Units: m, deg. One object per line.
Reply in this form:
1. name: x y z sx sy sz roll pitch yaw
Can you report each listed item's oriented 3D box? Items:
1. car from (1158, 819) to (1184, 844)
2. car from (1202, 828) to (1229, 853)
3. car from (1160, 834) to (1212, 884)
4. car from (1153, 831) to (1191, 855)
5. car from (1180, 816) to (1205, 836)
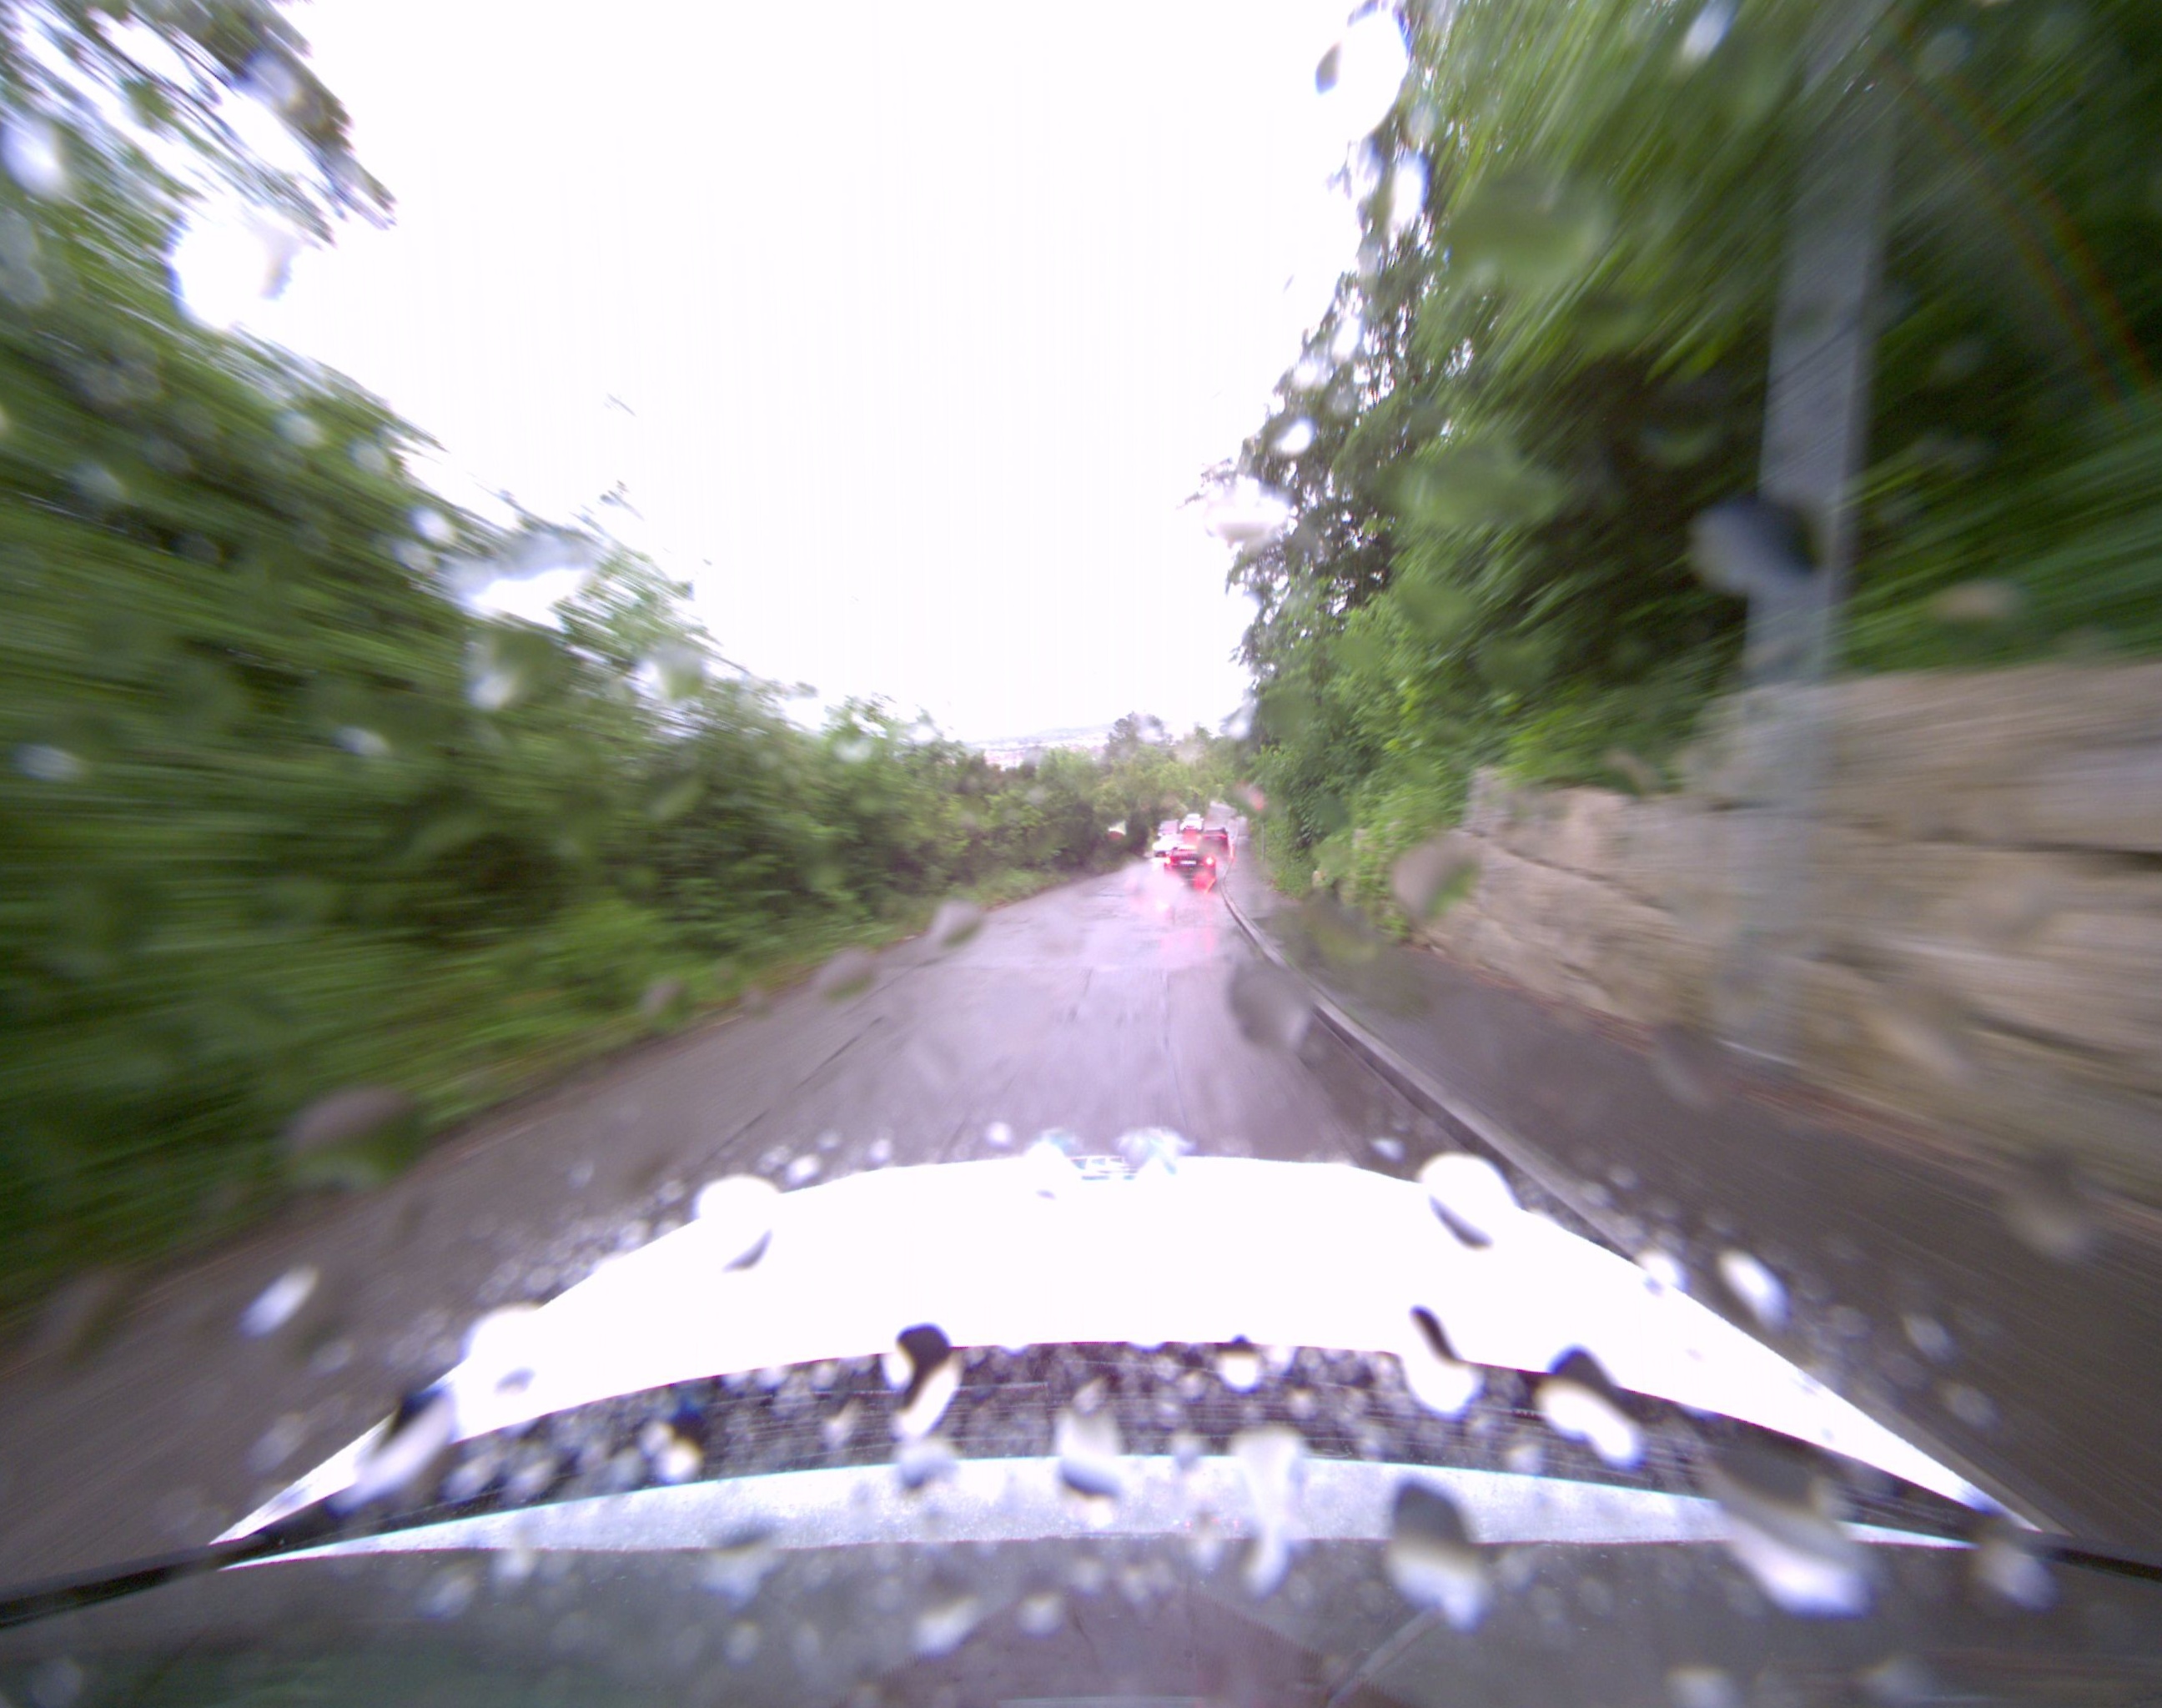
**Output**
1. car: 7.495 -1.917 67.522 1.678 1.782 4.249 -1 4 12
2. car: 9.880 -0.987 59.719 1.851 1.743 4.012 0 0 11
3. car: 3.820 0.124 29.457 1.690 1.449 4.011 -2 4 8
4. car: 6.053 -0.717 53.704 1.927 1.522 4.596 0 0 13
5. car: 10.594 -2.714 77.146 2.035 1.600 4.244 1 6 11
